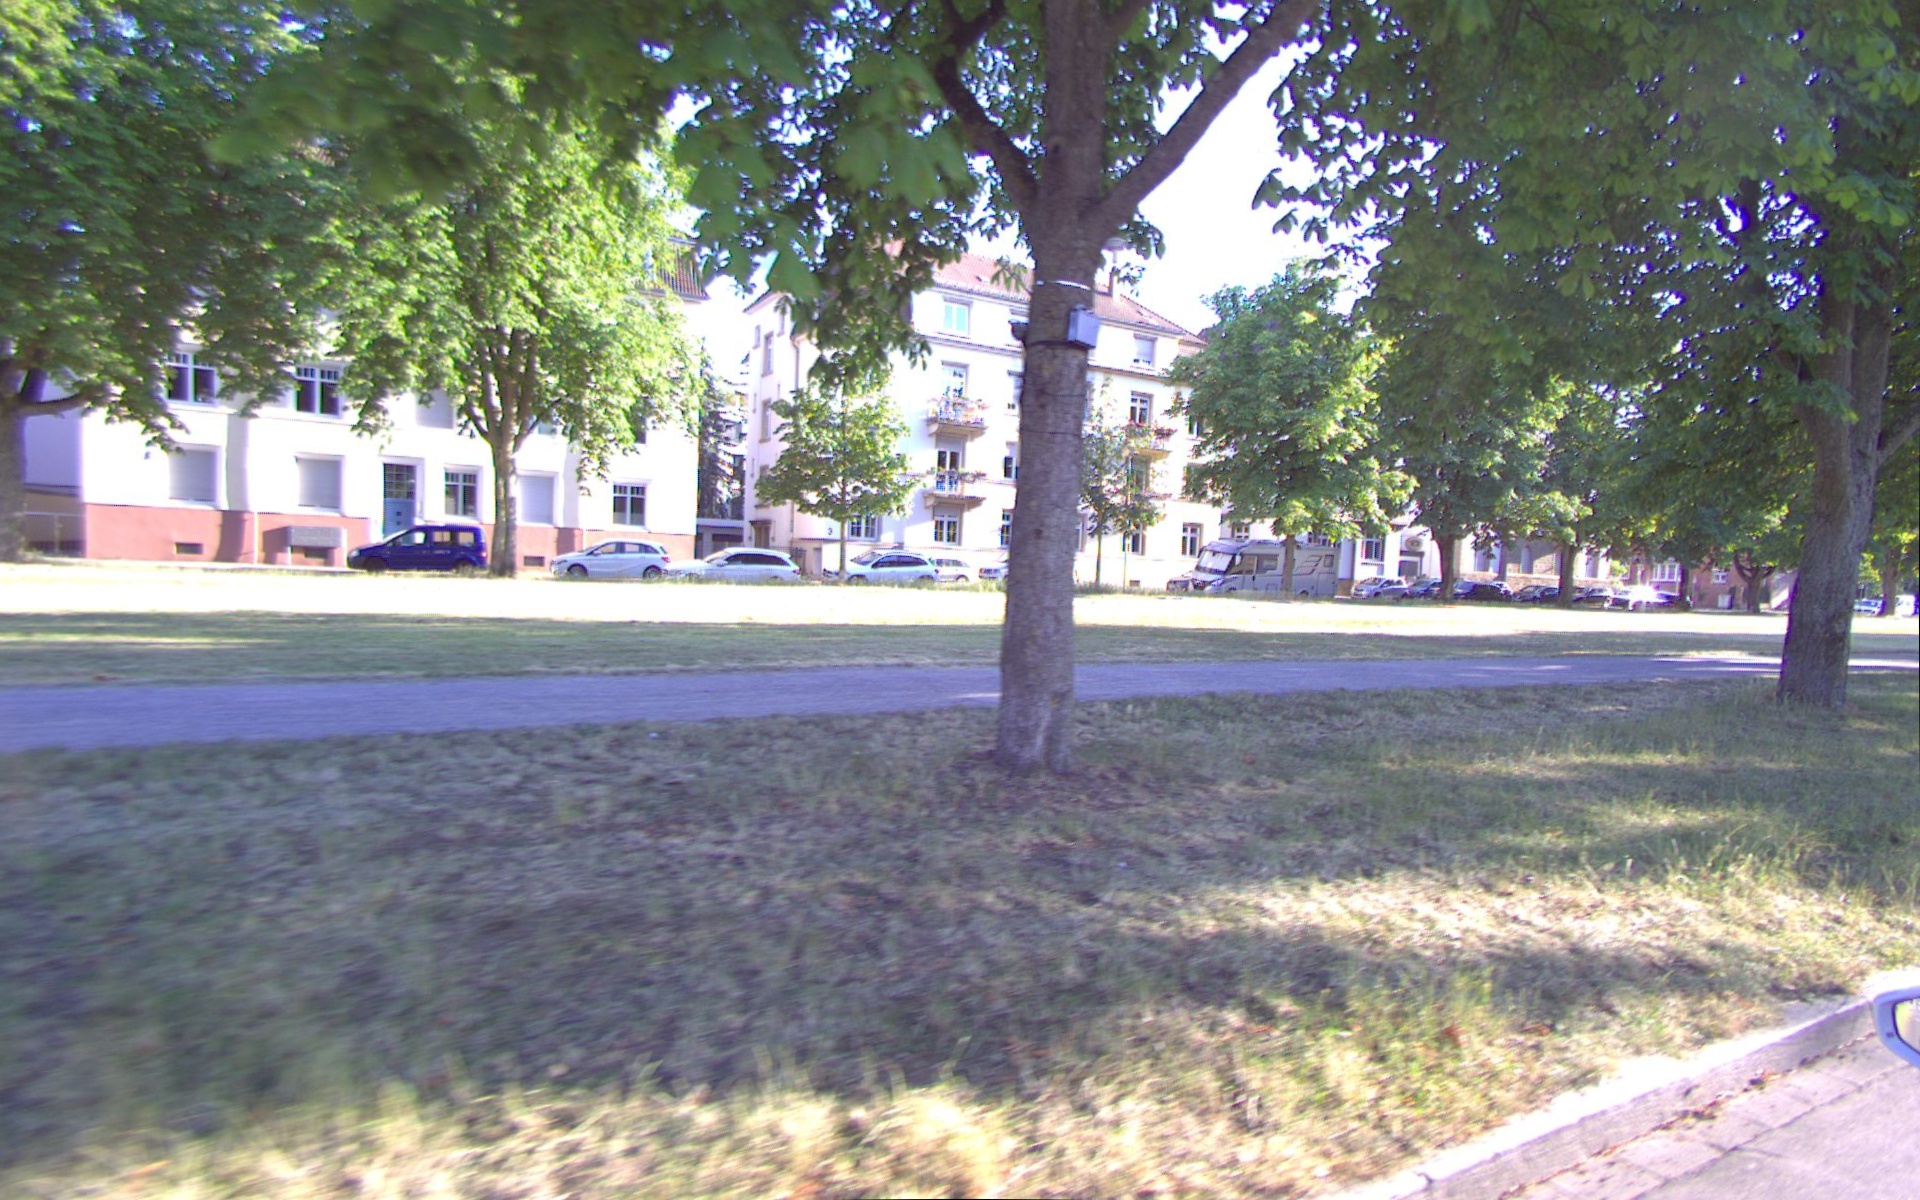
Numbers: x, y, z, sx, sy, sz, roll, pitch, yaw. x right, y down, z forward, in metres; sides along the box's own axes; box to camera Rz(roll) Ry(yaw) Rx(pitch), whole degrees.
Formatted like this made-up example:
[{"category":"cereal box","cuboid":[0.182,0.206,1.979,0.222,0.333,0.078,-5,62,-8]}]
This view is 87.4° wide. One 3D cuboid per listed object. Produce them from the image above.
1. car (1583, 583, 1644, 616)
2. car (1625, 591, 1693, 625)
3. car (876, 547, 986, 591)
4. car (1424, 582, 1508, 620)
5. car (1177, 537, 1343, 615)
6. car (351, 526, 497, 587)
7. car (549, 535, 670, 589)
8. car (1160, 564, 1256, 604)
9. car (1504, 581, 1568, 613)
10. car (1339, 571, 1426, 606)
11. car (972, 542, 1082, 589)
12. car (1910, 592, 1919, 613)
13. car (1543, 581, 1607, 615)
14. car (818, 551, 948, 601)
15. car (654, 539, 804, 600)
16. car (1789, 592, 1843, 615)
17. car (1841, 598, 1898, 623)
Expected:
[{"category":"car","cuboid":[46.891,-0.054,72.032,3.955,2.041,1.983,2,5,-31]},{"category":"car","cuboid":[44.502,0.513,63.922,4.072,1.805,1.803,2,5,-29]},{"category":"car","cuboid":[-1.253,-1.360,44.117,4.421,1.663,1.833,1,5,-29]},{"category":"car","cuboid":[27.242,0.044,54.067,4.263,1.696,1.871,2,5,-29]},{"category":"car","cuboid":[13.889,-1.049,46.237,7.758,3.173,2.381,1,6,-29]},{"category":"car","cuboid":[-18.373,-1.494,34.589,4.258,1.759,1.985,2,5,-28]},{"category":"car","cuboid":[-13.073,-1.410,37.472,3.950,1.681,1.985,2,5,-28]},{"category":"car","cuboid":[12.821,-0.835,51.912,4.514,1.681,1.985,2,5,-28]},{"category":"car","cuboid":[38.354,-0.204,66.828,3.869,1.827,1.856,2,5,-30]},{"category":"car","cuboid":[24.980,-0.661,59.334,5.101,1.712,1.982,2,5,-32]},{"category":"car","cuboid":[3.129,-1.598,46.940,4.821,1.976,1.983,1,3,-31]},{"category":"car","cuboid":[86.744,0.351,89.713,3.836,1.712,1.719,3,4,-31]},{"category":"car","cuboid":[42.358,-0.149,69.176,3.955,2.041,1.983,2,5,-31]},{"category":"car","cuboid":[-2.808,-0.882,36.712,4.369,1.575,1.786,1,6,-31]},{"category":"car","cuboid":[-7.760,-1.016,33.824,4.514,1.681,1.985,2,5,-28]},{"category":"car","cuboid":[73.168,0.306,85.841,4.301,1.681,1.985,2,5,-28]},{"category":"car","cuboid":[71.053,0.814,78.499,3.936,1.681,2.013,2,5,-29]}]
